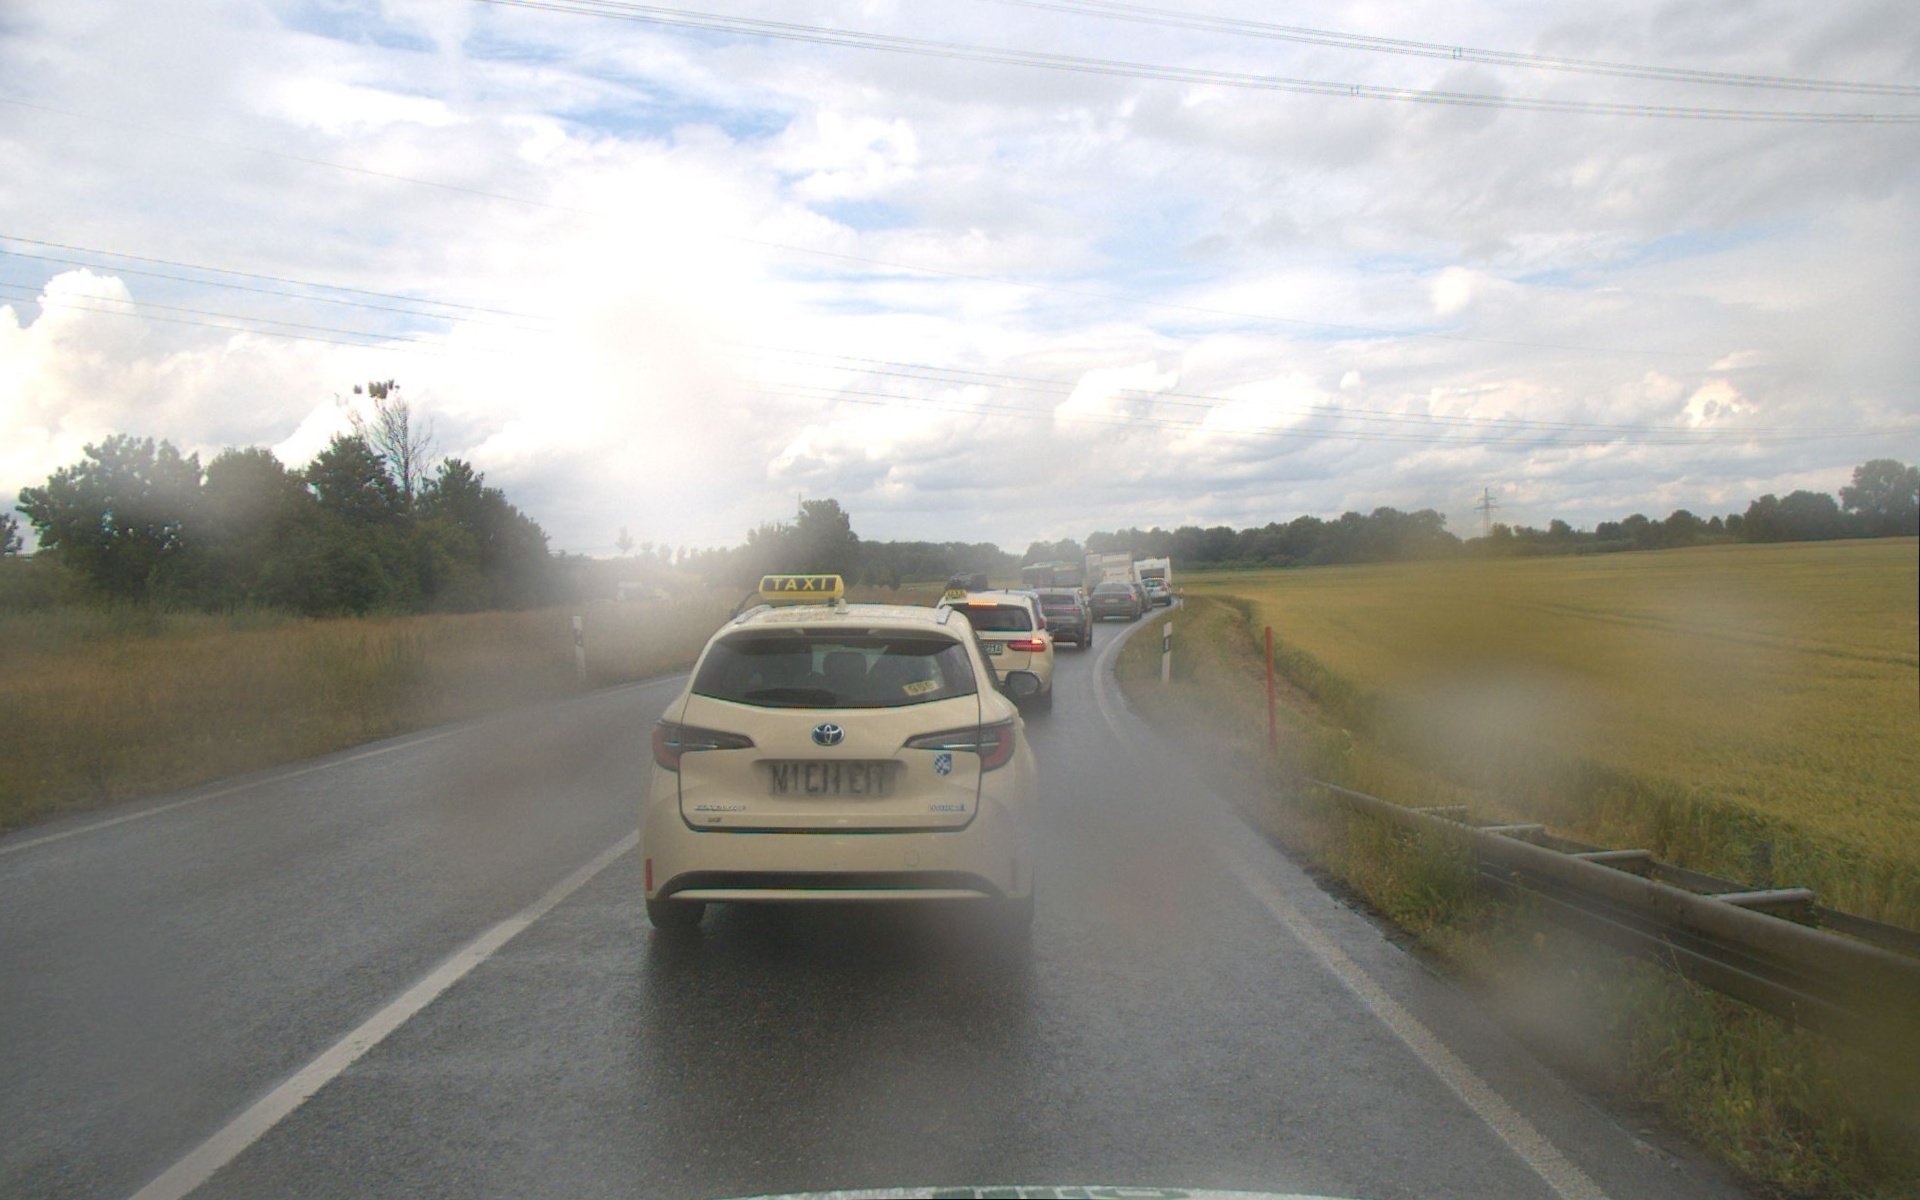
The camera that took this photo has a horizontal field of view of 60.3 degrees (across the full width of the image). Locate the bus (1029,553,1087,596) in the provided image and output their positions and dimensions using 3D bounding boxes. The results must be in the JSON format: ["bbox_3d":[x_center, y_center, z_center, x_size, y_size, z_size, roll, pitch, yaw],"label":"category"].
[{"bbox_3d":[7.849,-2.028,134.443,2.705,3.355,12.487,0,1,-6],"label":"bus"}]

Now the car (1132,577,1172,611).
[{"bbox_3d":[10.395,-0.315,89.538,1.918,1.759,3.741,0,-1,10],"label":"car"}]

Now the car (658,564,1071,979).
[{"bbox_3d":[-0.393,0.682,8.267,1.580,1.589,3.737,1,-1,-1],"label":"car"}]

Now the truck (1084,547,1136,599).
[{"bbox_3d":[11.971,-2.127,132.661,3.065,3.920,7.380,1,-1,-4],"label":"truck"}]

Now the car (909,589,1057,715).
[{"bbox_3d":[0.418,0.623,22.576,1.802,1.518,4.610,0,1,3],"label":"car"}]

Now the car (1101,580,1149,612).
[{"bbox_3d":[7.892,-0.172,78.772,1.786,1.438,3.741,0,-1,14],"label":"car"}]

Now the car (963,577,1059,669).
[{"bbox_3d":[1.057,0.438,32.577,1.578,1.688,3.741,1,-1,6],"label":"car"}]

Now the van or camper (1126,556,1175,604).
[{"bbox_3d":[12.038,-1.267,104.995,2.484,2.946,6.744,0,1,1],"label":"van or camper"}]

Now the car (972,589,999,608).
[{"bbox_3d":[2.692,-0.140,174.472,1.809,1.891,4.073,1,-1,-14],"label":"car"}]

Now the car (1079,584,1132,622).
[{"bbox_3d":[5.825,0.134,65.844,1.918,1.438,4.395,1,-1,8],"label":"car"}]

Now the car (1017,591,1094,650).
[{"bbox_3d":[2.471,0.517,42.007,1.578,1.438,3.741,1,-1,9],"label":"car"}]

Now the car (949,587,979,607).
[{"bbox_3d":[0.402,-0.287,170.803,1.964,2.049,3.977,1,-1,-20],"label":"car"}]

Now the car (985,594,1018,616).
[{"bbox_3d":[3.859,0.492,154.983,1.960,2.049,4.134,1,-1,-15],"label":"car"}]
